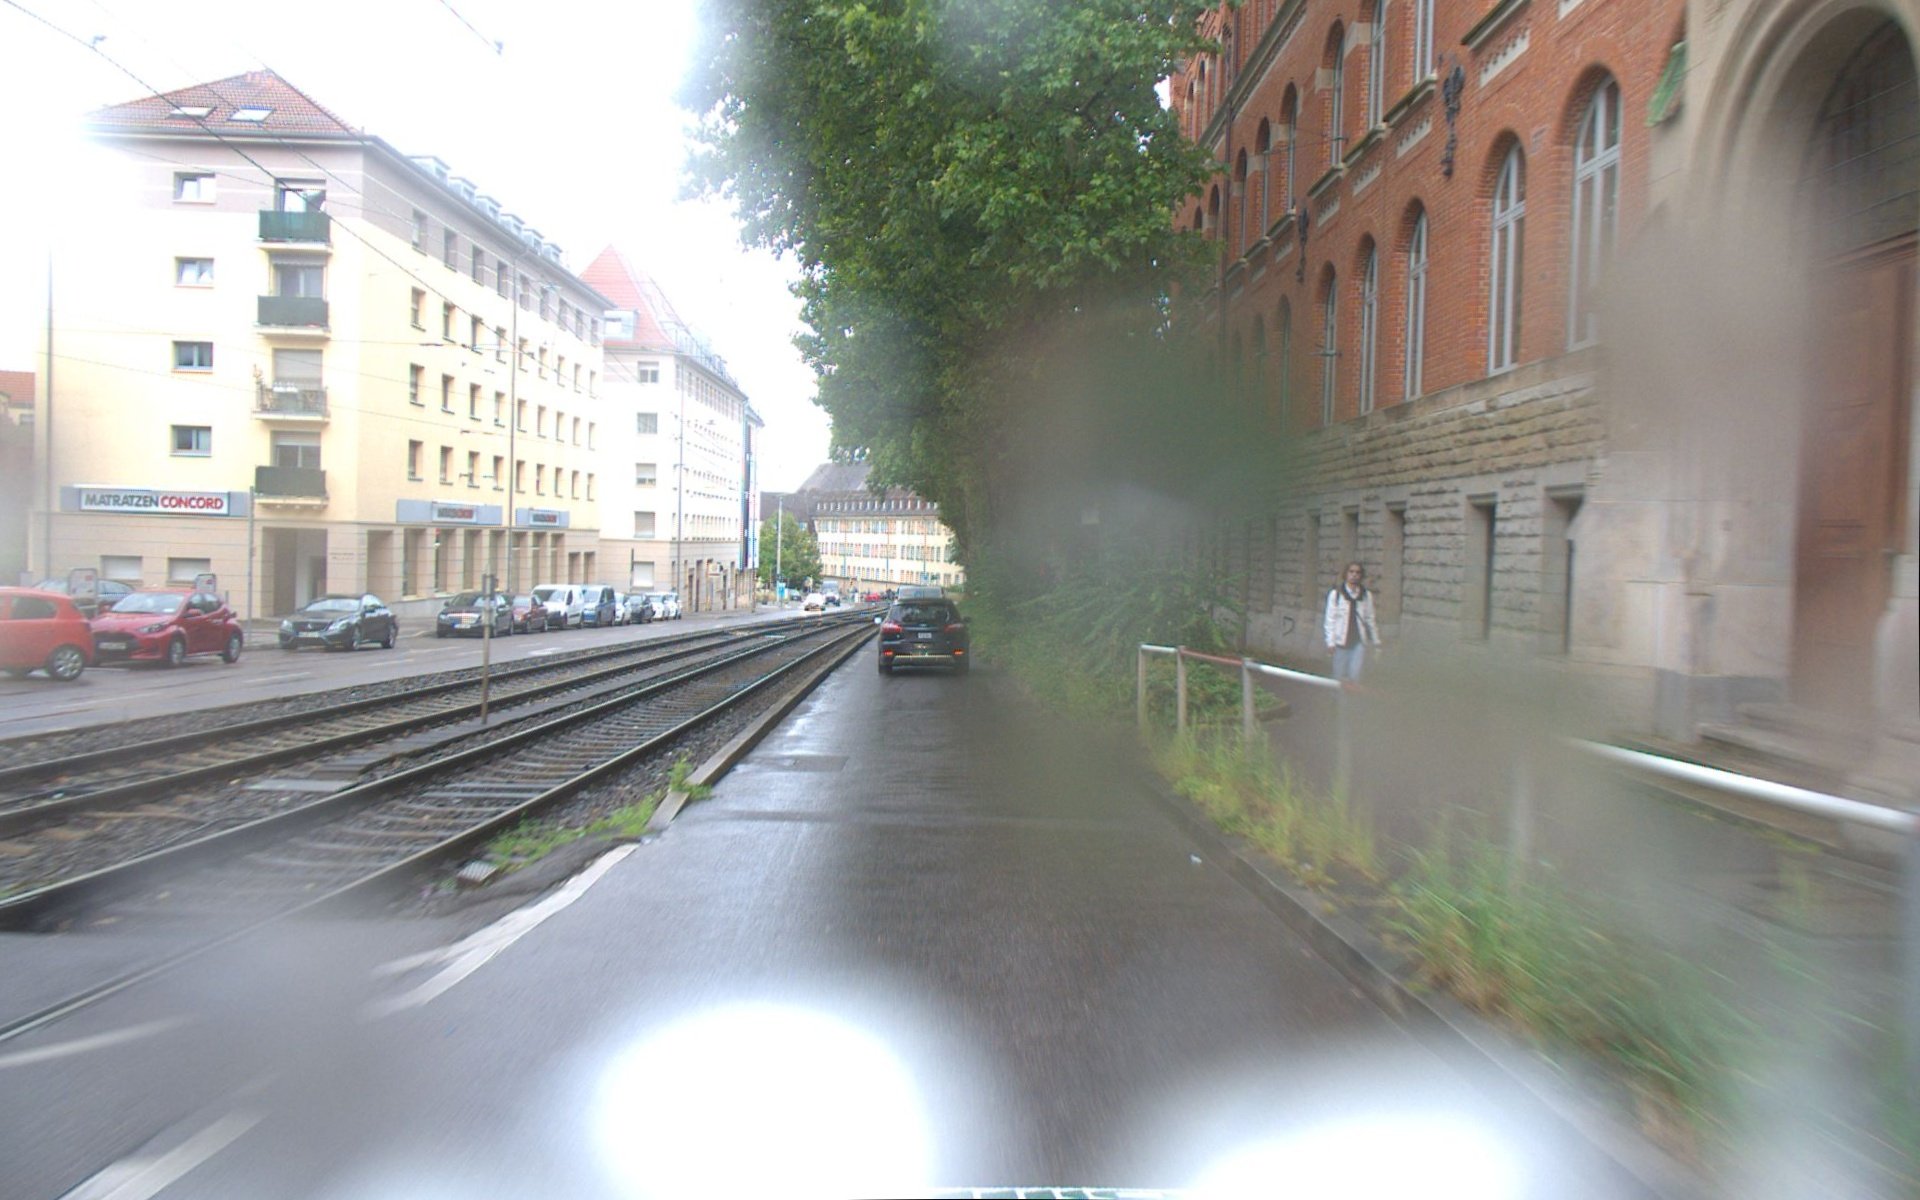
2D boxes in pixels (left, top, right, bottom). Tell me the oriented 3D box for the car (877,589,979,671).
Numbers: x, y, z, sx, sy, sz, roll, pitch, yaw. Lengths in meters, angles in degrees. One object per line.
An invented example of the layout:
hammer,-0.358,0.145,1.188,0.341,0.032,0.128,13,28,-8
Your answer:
car,-0.691,0.546,33.421,1.894,1.478,4.316,2,1,-2

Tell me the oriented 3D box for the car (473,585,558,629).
car,-16.393,0.232,61.248,1.813,1.457,4.831,2,1,-1

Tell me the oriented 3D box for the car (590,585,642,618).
car,-16.223,0.050,78.145,1.657,1.464,4.048,1,0,-1

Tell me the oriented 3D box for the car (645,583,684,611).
car,-17.025,-0.188,95.362,1.674,1.475,3.540,3,1,-3

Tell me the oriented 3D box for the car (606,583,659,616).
car,-16.348,-0.047,82.718,1.776,1.525,4.582,2,1,-1

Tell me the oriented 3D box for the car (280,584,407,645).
car,-15.627,0.329,42.161,1.646,1.420,4.621,1,1,-2

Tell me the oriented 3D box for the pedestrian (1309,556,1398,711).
pedestrian,4.445,0.364,18.730,0.806,1.708,0.860,1,0,2

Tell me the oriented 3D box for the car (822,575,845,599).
car,-13.416,-1.336,175.917,1.953,2.494,5.998,1,0,0

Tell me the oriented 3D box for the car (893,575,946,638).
car,-1.418,0.177,56.347,1.705,2.049,3.902,1,1,-3

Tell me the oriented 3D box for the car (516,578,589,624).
car,-16.405,0.013,66.775,1.829,1.747,4.460,1,1,0

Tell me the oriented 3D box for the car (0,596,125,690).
car,-15.999,0.677,26.902,1.748,1.459,3.971,2,1,33

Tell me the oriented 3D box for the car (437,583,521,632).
car,-16.041,0.210,55.410,1.815,1.534,4.986,1,1,-6

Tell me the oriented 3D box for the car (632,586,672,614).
car,-16.842,-0.008,90.669,1.670,1.421,3.932,2,0,-4

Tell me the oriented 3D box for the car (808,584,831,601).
car,-12.797,-0.695,150.794,1.677,1.488,4.281,0,1,0

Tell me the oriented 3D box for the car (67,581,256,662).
car,-15.661,0.367,32.687,1.619,1.477,4.075,1,1,2

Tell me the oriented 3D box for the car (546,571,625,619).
car,-16.386,-0.259,72.653,1.952,1.938,5.462,3,1,3
